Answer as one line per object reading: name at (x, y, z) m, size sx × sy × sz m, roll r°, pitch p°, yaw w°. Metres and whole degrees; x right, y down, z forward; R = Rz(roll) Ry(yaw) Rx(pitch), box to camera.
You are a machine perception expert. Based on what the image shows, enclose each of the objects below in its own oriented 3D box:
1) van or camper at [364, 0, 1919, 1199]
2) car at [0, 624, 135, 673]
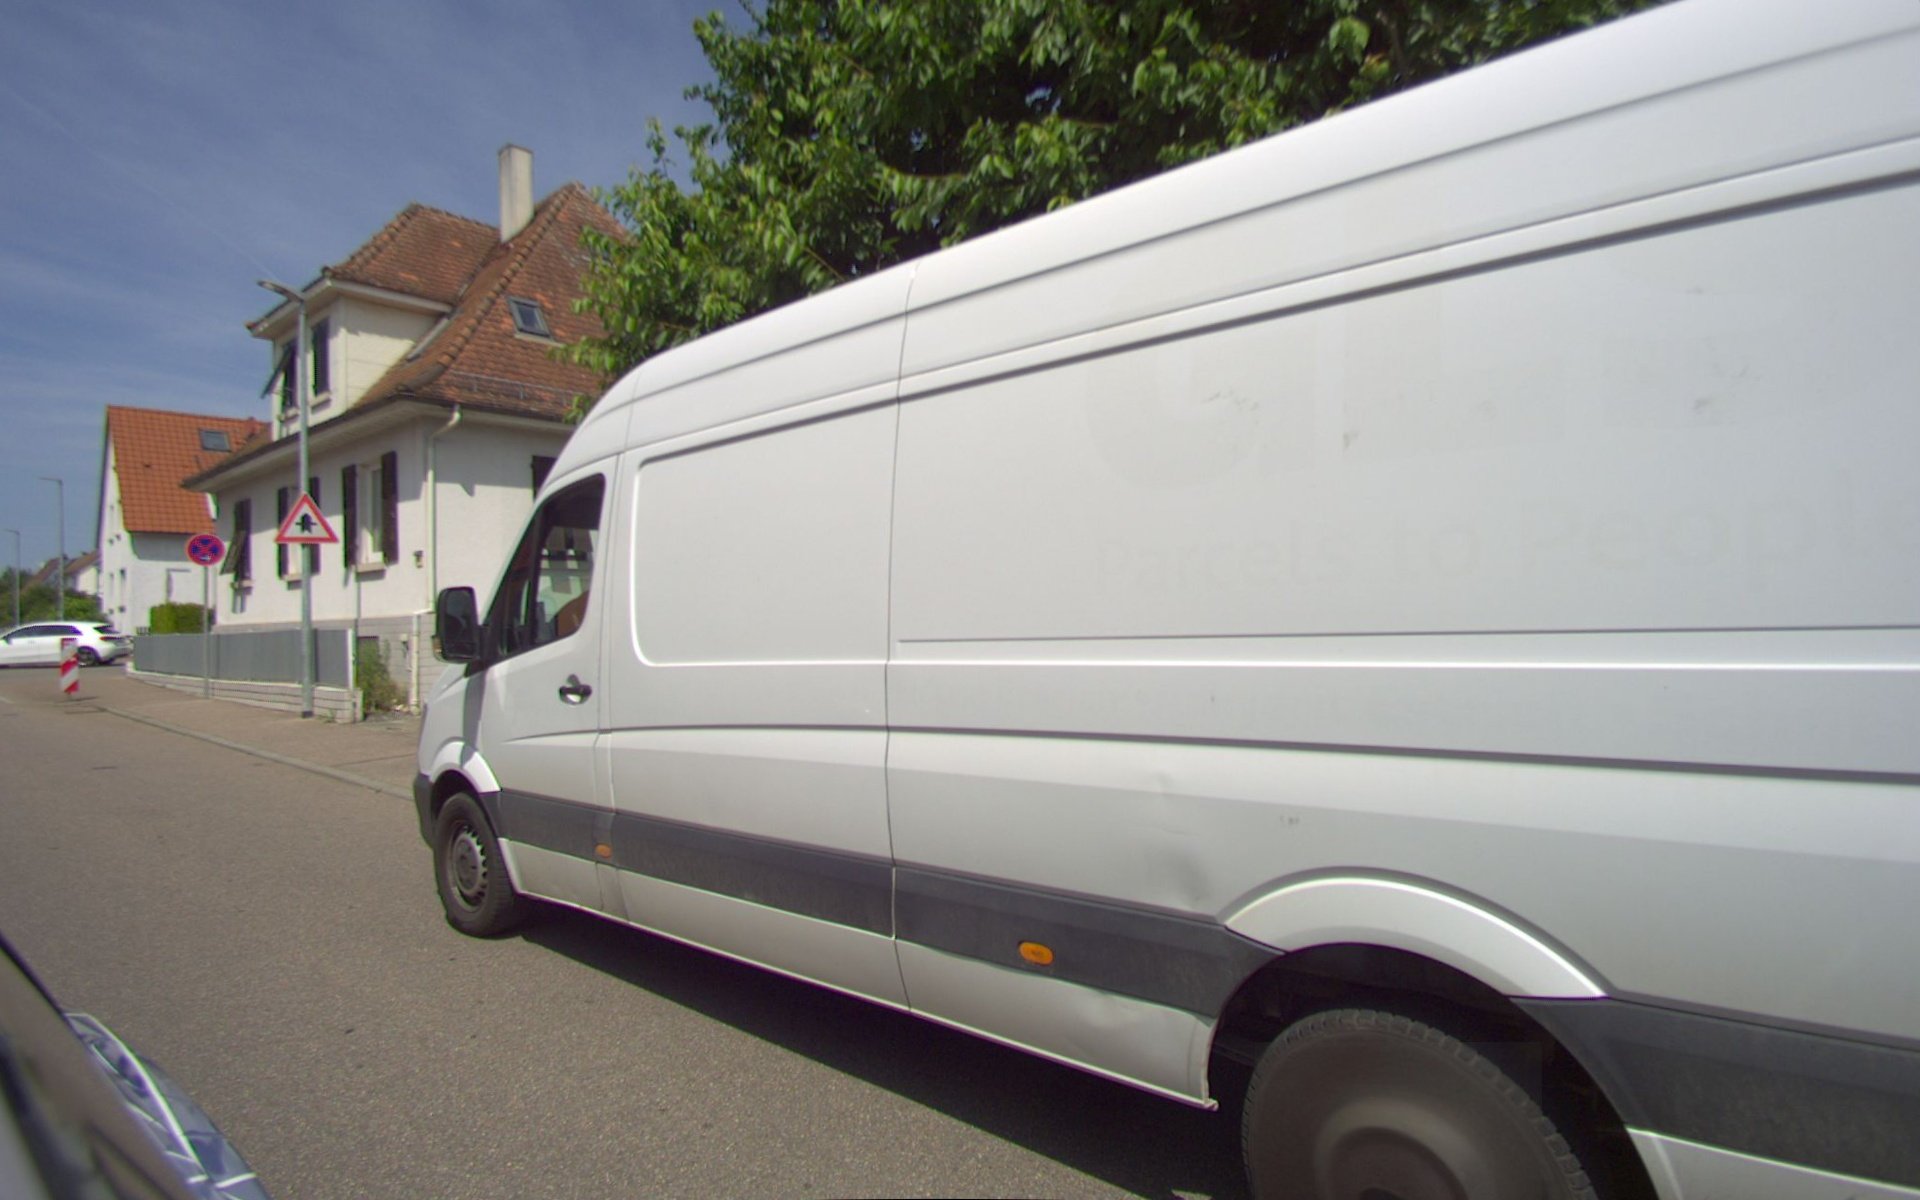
van or camper at (0.157, 0.118, 3.939) m, size 6.803 × 2.591 × 2.162 m, roll -2°, pitch 0°, yaw 41°
car at (-28.848, 1.504, 31.642) m, size 4.416 × 1.408 × 1.936 m, roll -1°, pitch -1°, yaw -26°
